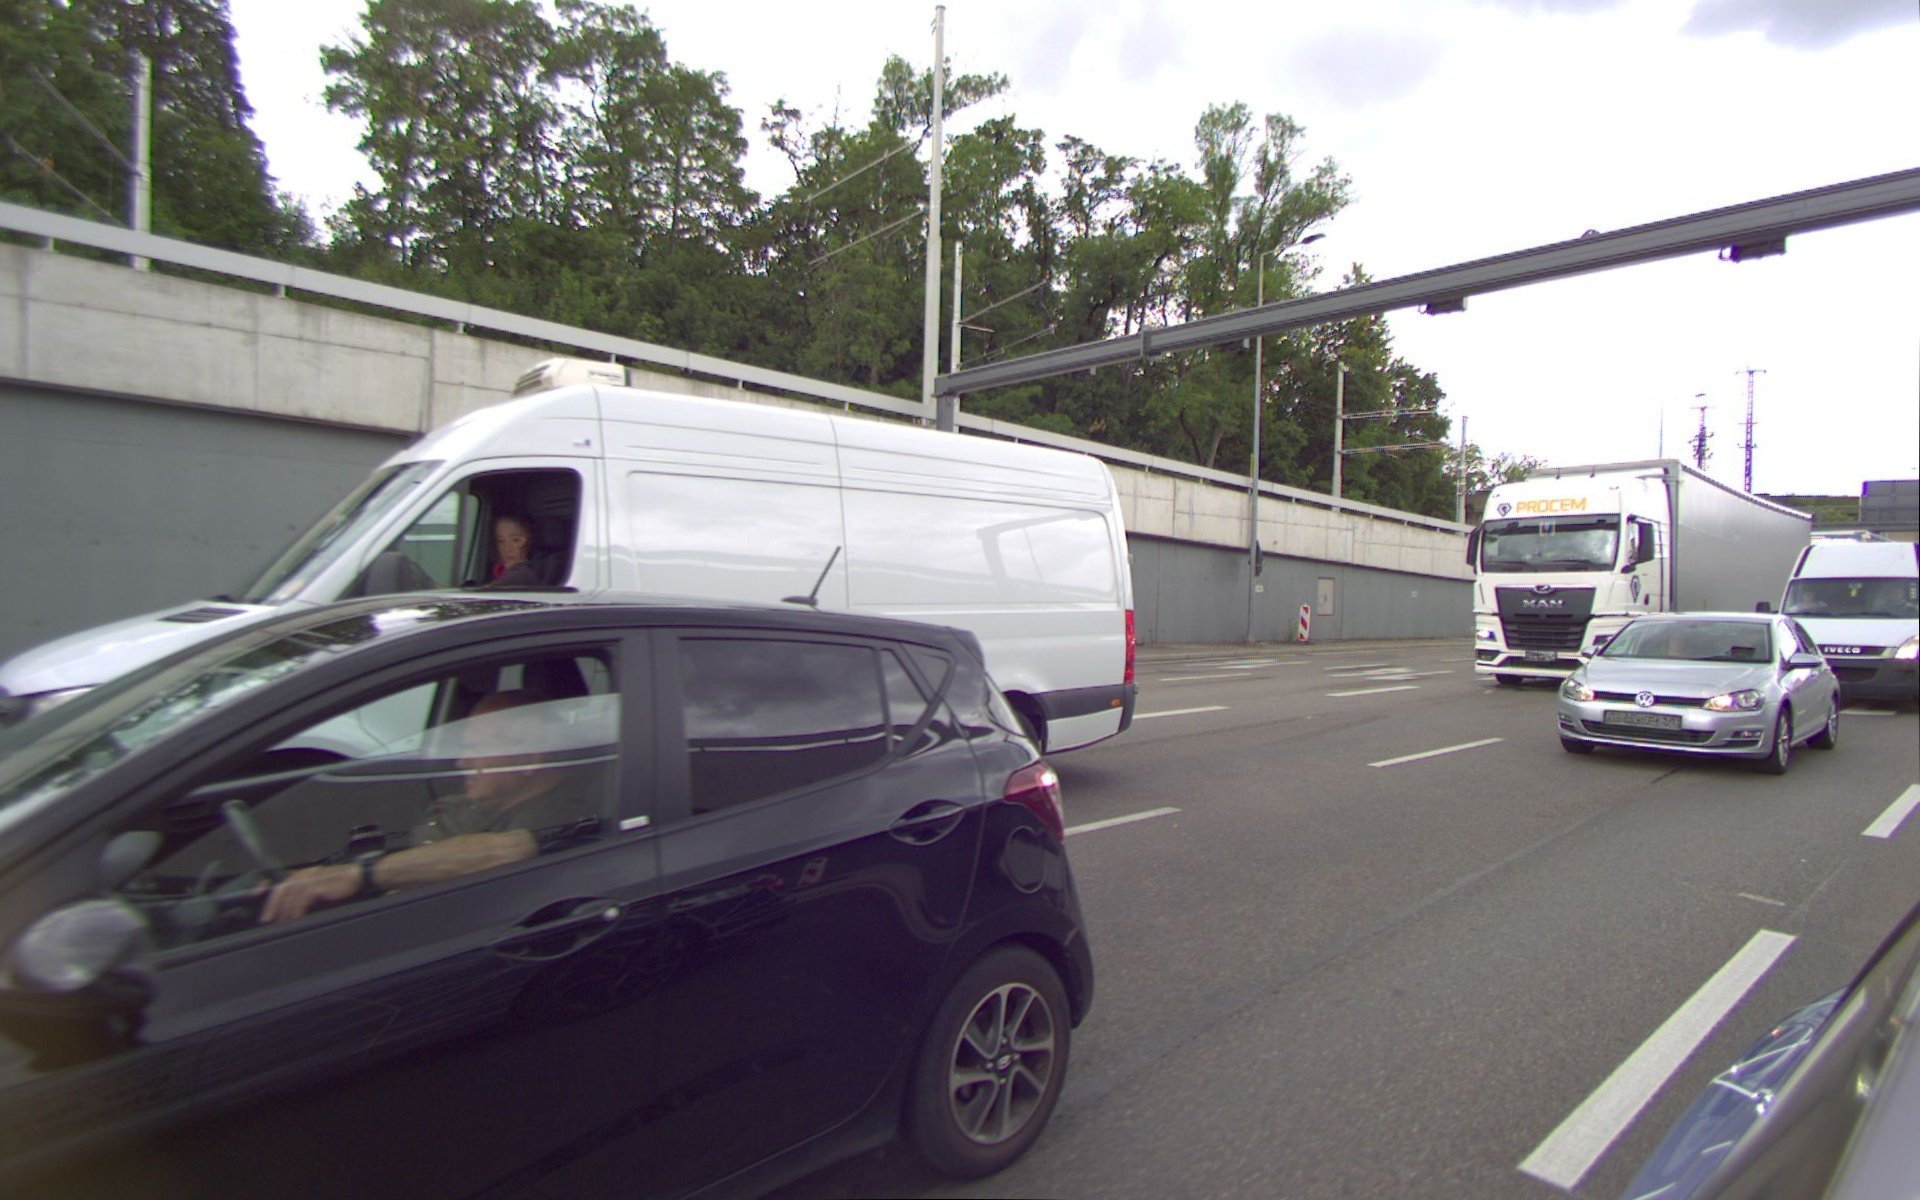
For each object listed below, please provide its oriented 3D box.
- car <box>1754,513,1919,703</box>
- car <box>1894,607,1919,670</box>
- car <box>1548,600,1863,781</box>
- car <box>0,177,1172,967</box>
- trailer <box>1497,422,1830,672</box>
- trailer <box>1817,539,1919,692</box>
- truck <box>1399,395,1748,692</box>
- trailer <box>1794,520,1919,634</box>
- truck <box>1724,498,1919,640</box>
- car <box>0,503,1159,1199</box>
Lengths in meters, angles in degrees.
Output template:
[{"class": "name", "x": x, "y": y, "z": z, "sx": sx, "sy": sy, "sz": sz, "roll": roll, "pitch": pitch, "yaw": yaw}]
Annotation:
[{"class": "car", "x": 15.179, "y": 0.168, "z": 16.710, "sx": 5.837, "sy": 2.662, "sz": 2.061, "roll": 1, "pitch": -3, "yaw": -41}, {"class": "car", "x": 24.096, "y": 0.919, "z": 24.480, "sx": 4.270, "sy": 1.415, "sz": 1.719, "roll": 0, "pitch": 1, "yaw": -40}, {"class": "car", "x": 7.629, "y": 0.733, "z": 10.218, "sx": 3.969, "sy": 1.400, "sz": 1.766, "roll": -1, "pitch": 2, "yaw": -42}, {"class": "car", "x": -1.675, "y": -0.081, "z": 6.546, "sx": 7.199, "sy": 2.808, "sz": 2.078, "roll": 1, "pitch": 0, "yaw": -42}, {"class": "trailer", "x": 17.342, "y": -0.954, "z": 24.376, "sx": 11.902, "sy": 4.691, "sz": 3.811, "roll": 1, "pitch": -1, "yaw": -41}, {"class": "trailer", "x": 18.444, "y": 0.180, "z": 19.542, "sx": 4.726, "sy": 2.671, "sz": 2.108, "roll": -2, "pitch": 3, "yaw": -40}, {"class": "truck", "x": 12.174, "y": -0.863, "z": 19.831, "sx": 7.312, "sy": 4.691, "sz": 3.811, "roll": 1, "pitch": -1, "yaw": -41}, {"class": "trailer", "x": 38.189, "y": -0.815, "z": 42.029, "sx": 10.790, "sy": 4.194, "sz": 3.730, "roll": 0, "pitch": -1, "yaw": -41}, {"class": "truck", "x": 30.069, "y": -0.889, "z": 34.922, "sx": 10.790, "sy": 4.194, "sz": 3.730, "roll": 0, "pitch": -1, "yaw": -41}, {"class": "car", "x": -1.326, "y": 0.665, "z": 2.287, "sx": 3.630, "sy": 1.564, "sz": 1.684, "roll": 1, "pitch": -1, "yaw": -43}]
